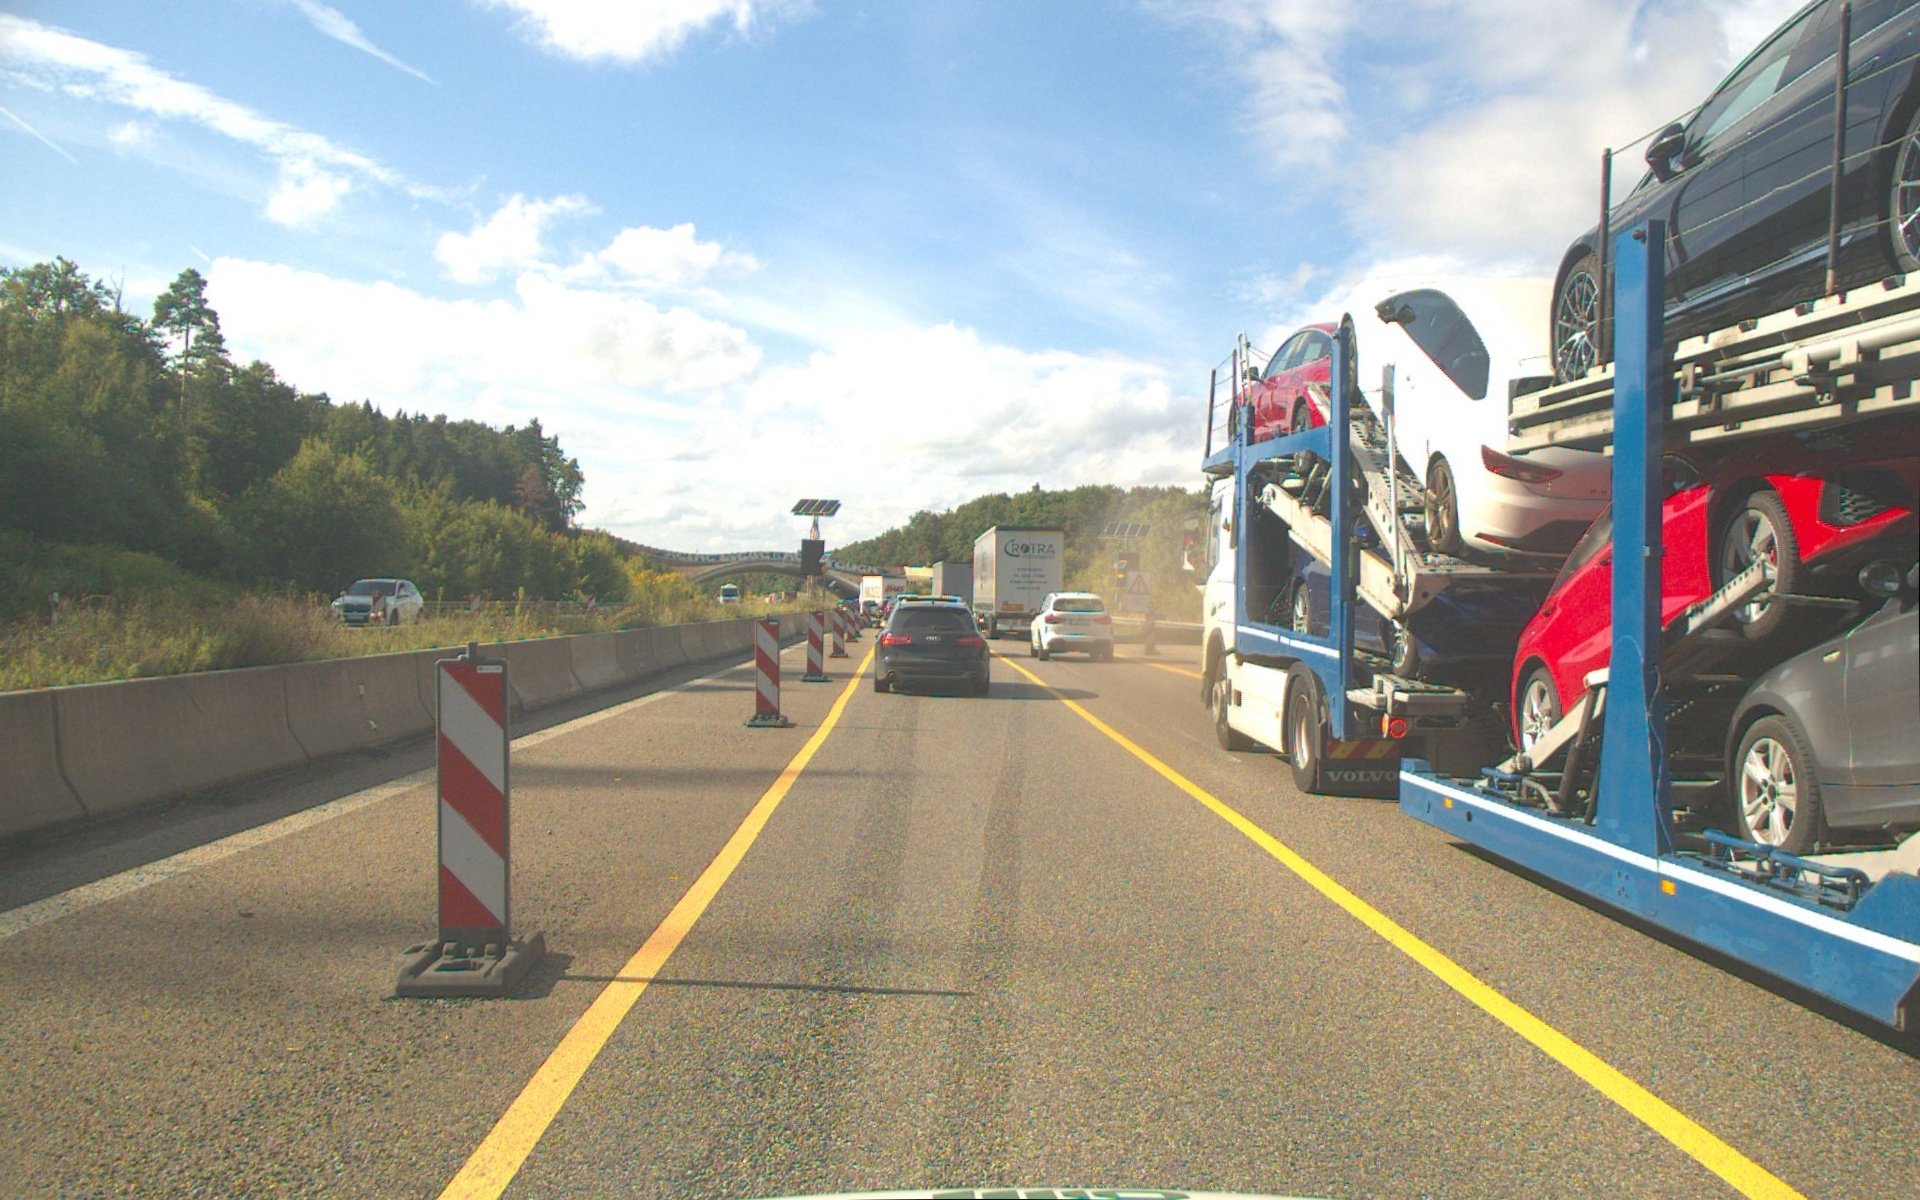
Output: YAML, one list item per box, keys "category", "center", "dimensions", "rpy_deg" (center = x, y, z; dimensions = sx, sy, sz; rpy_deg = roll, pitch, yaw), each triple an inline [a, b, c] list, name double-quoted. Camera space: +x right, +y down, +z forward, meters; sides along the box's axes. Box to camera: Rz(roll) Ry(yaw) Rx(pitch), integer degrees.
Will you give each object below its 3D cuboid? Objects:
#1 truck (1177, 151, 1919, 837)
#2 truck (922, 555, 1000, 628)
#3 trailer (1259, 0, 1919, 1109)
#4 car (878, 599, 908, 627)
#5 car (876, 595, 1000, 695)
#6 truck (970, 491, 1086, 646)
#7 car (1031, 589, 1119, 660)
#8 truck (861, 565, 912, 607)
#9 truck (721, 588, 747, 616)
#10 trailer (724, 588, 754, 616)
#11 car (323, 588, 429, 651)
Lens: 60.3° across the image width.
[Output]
- category: "truck"
  center: [4.429, -0.644, 14.487]
  dimensions: [3.686, 4.270, 7.947]
  rpy_deg: [1, 0, -2]
- category: "truck"
  center: [-0.076, -0.534, 112.721]
  dimensions: [4.235, 4.681, 11.112]
  rpy_deg: [1, 0, -5]
- category: "trailer"
  center: [4.700, -0.565, 6.241]
  dimensions: [3.651, 4.270, 16.220]
  rpy_deg: [1, 0, -2]
- category: "car"
  center: [-4.989, 0.960, 123.053]
  dimensions: [1.955, 2.049, 3.994]
  rpy_deg: [1, 0, -7]
- category: "car"
  center: [-0.364, 0.684, 27.036]
  dimensions: [1.852, 1.472, 3.999]
  rpy_deg: [1, 0, -1]
- category: "truck"
  center: [2.485, -1.079, 67.197]
  dimensions: [3.603, 5.447, 16.196]
  rpy_deg: [1, 0, -1]
- category: "car"
  center: [2.870, 0.594, 42.043]
  dimensions: [1.852, 1.672, 4.017]
  rpy_deg: [1, 0, -1]
- category: "truck"
  center: [-7.590, -1.378, 169.800]
  dimensions: [3.589, 3.997, 11.037]
  rpy_deg: [1, 0, -11]
- category: "truck"
  center: [-29.297, 0.320, 214.620]
  dimensions: [2.728, 3.551, 4.938]
  rpy_deg: [1, 0, -1]
- category: "trailer"
  center: [-29.455, 0.303, 220.732]
  dimensions: [2.745, 3.551, 11.109]
  rpy_deg: [1, 0, -1]
- category: "car"
  center: [-17.861, 0.585, 50.777]
  dimensions: [1.742, 1.817, 4.364]
  rpy_deg: [1, 0, -1]
